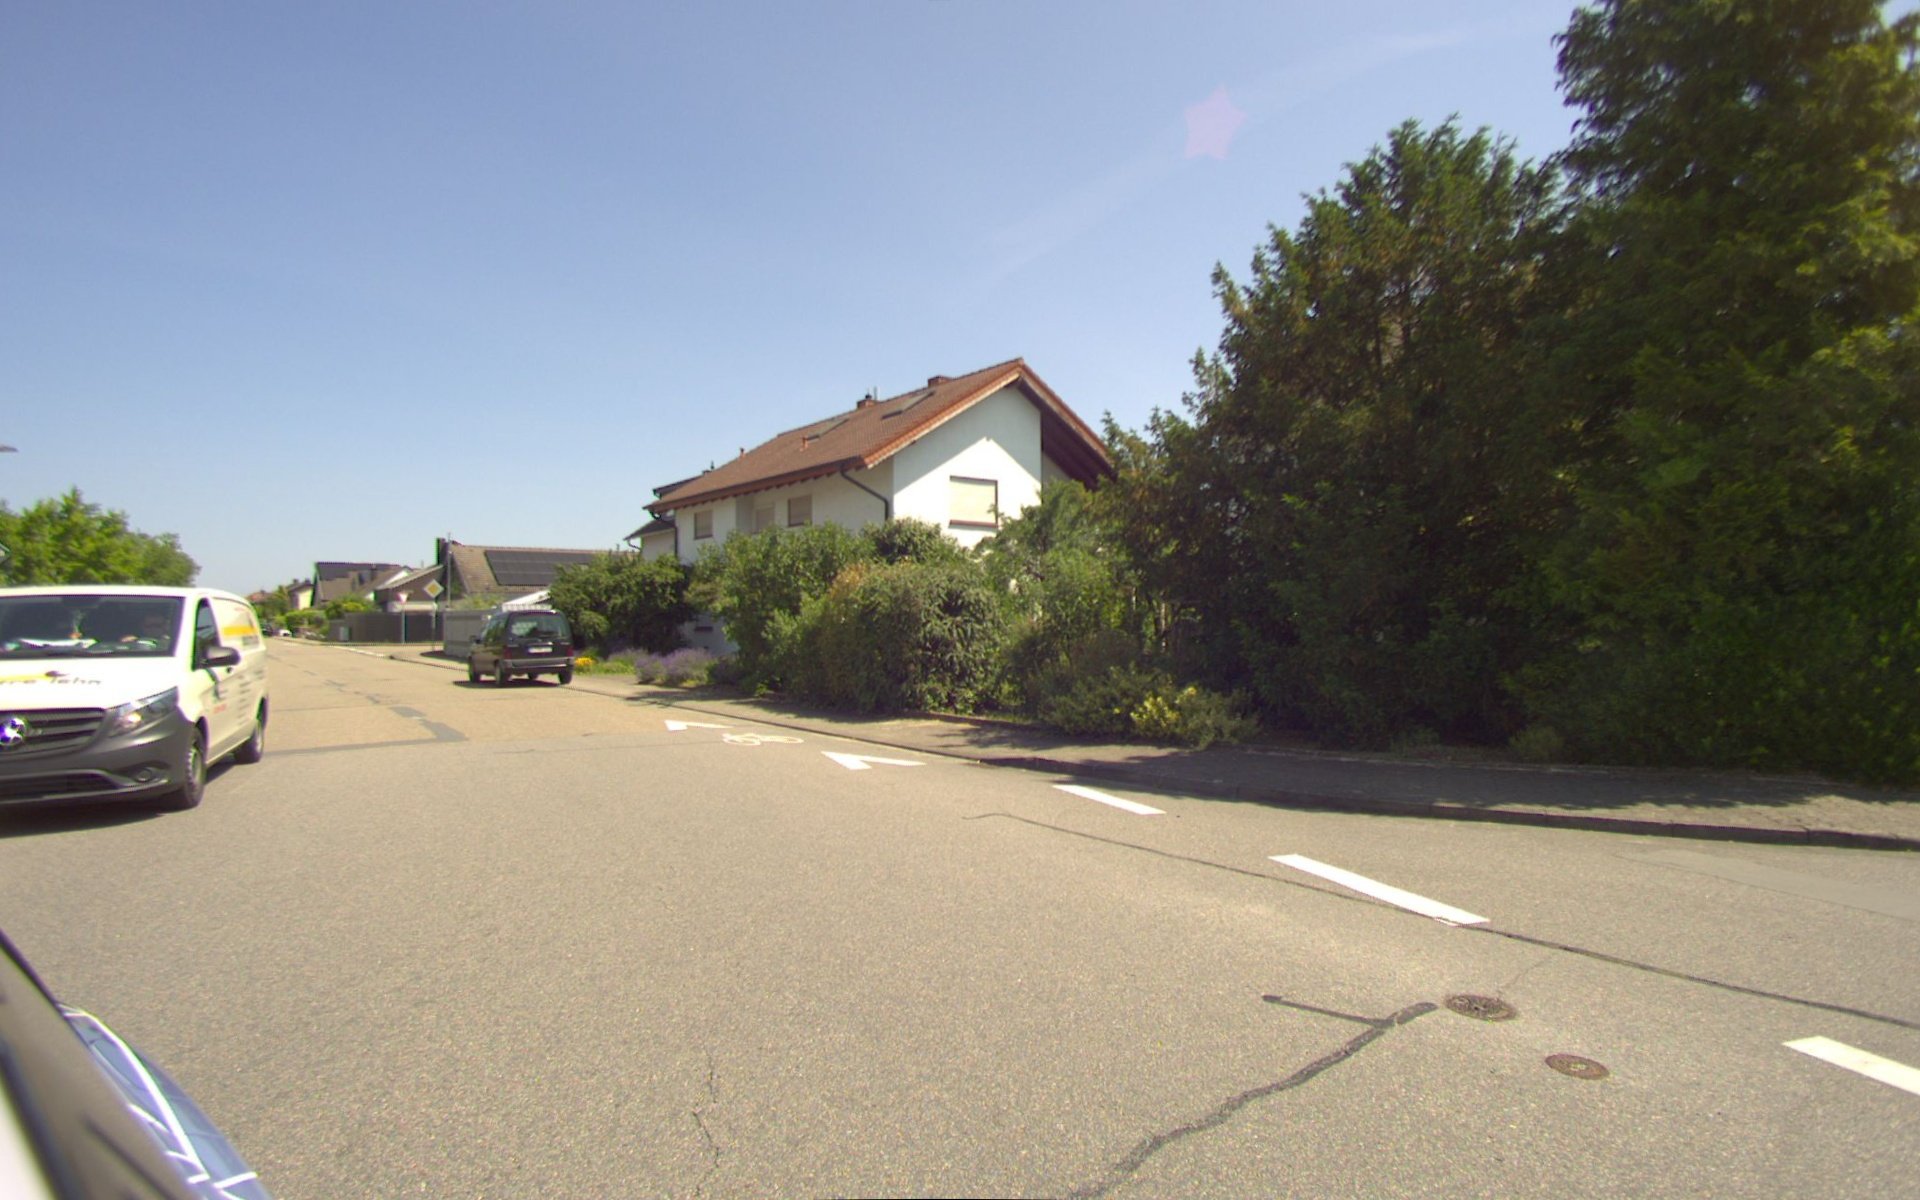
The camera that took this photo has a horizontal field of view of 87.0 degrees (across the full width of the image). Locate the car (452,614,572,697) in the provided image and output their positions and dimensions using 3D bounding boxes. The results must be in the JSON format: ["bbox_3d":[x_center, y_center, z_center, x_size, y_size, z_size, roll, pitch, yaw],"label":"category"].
[{"bbox_3d":[-11.016,1.284,24.738,1.696,1.860,4.062,0,-1,-39],"label":"car"}]

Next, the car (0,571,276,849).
[{"bbox_3d":[-7.644,0.780,9.080,1.985,1.870,5.084,0,-1,-28],"label":"car"}]
